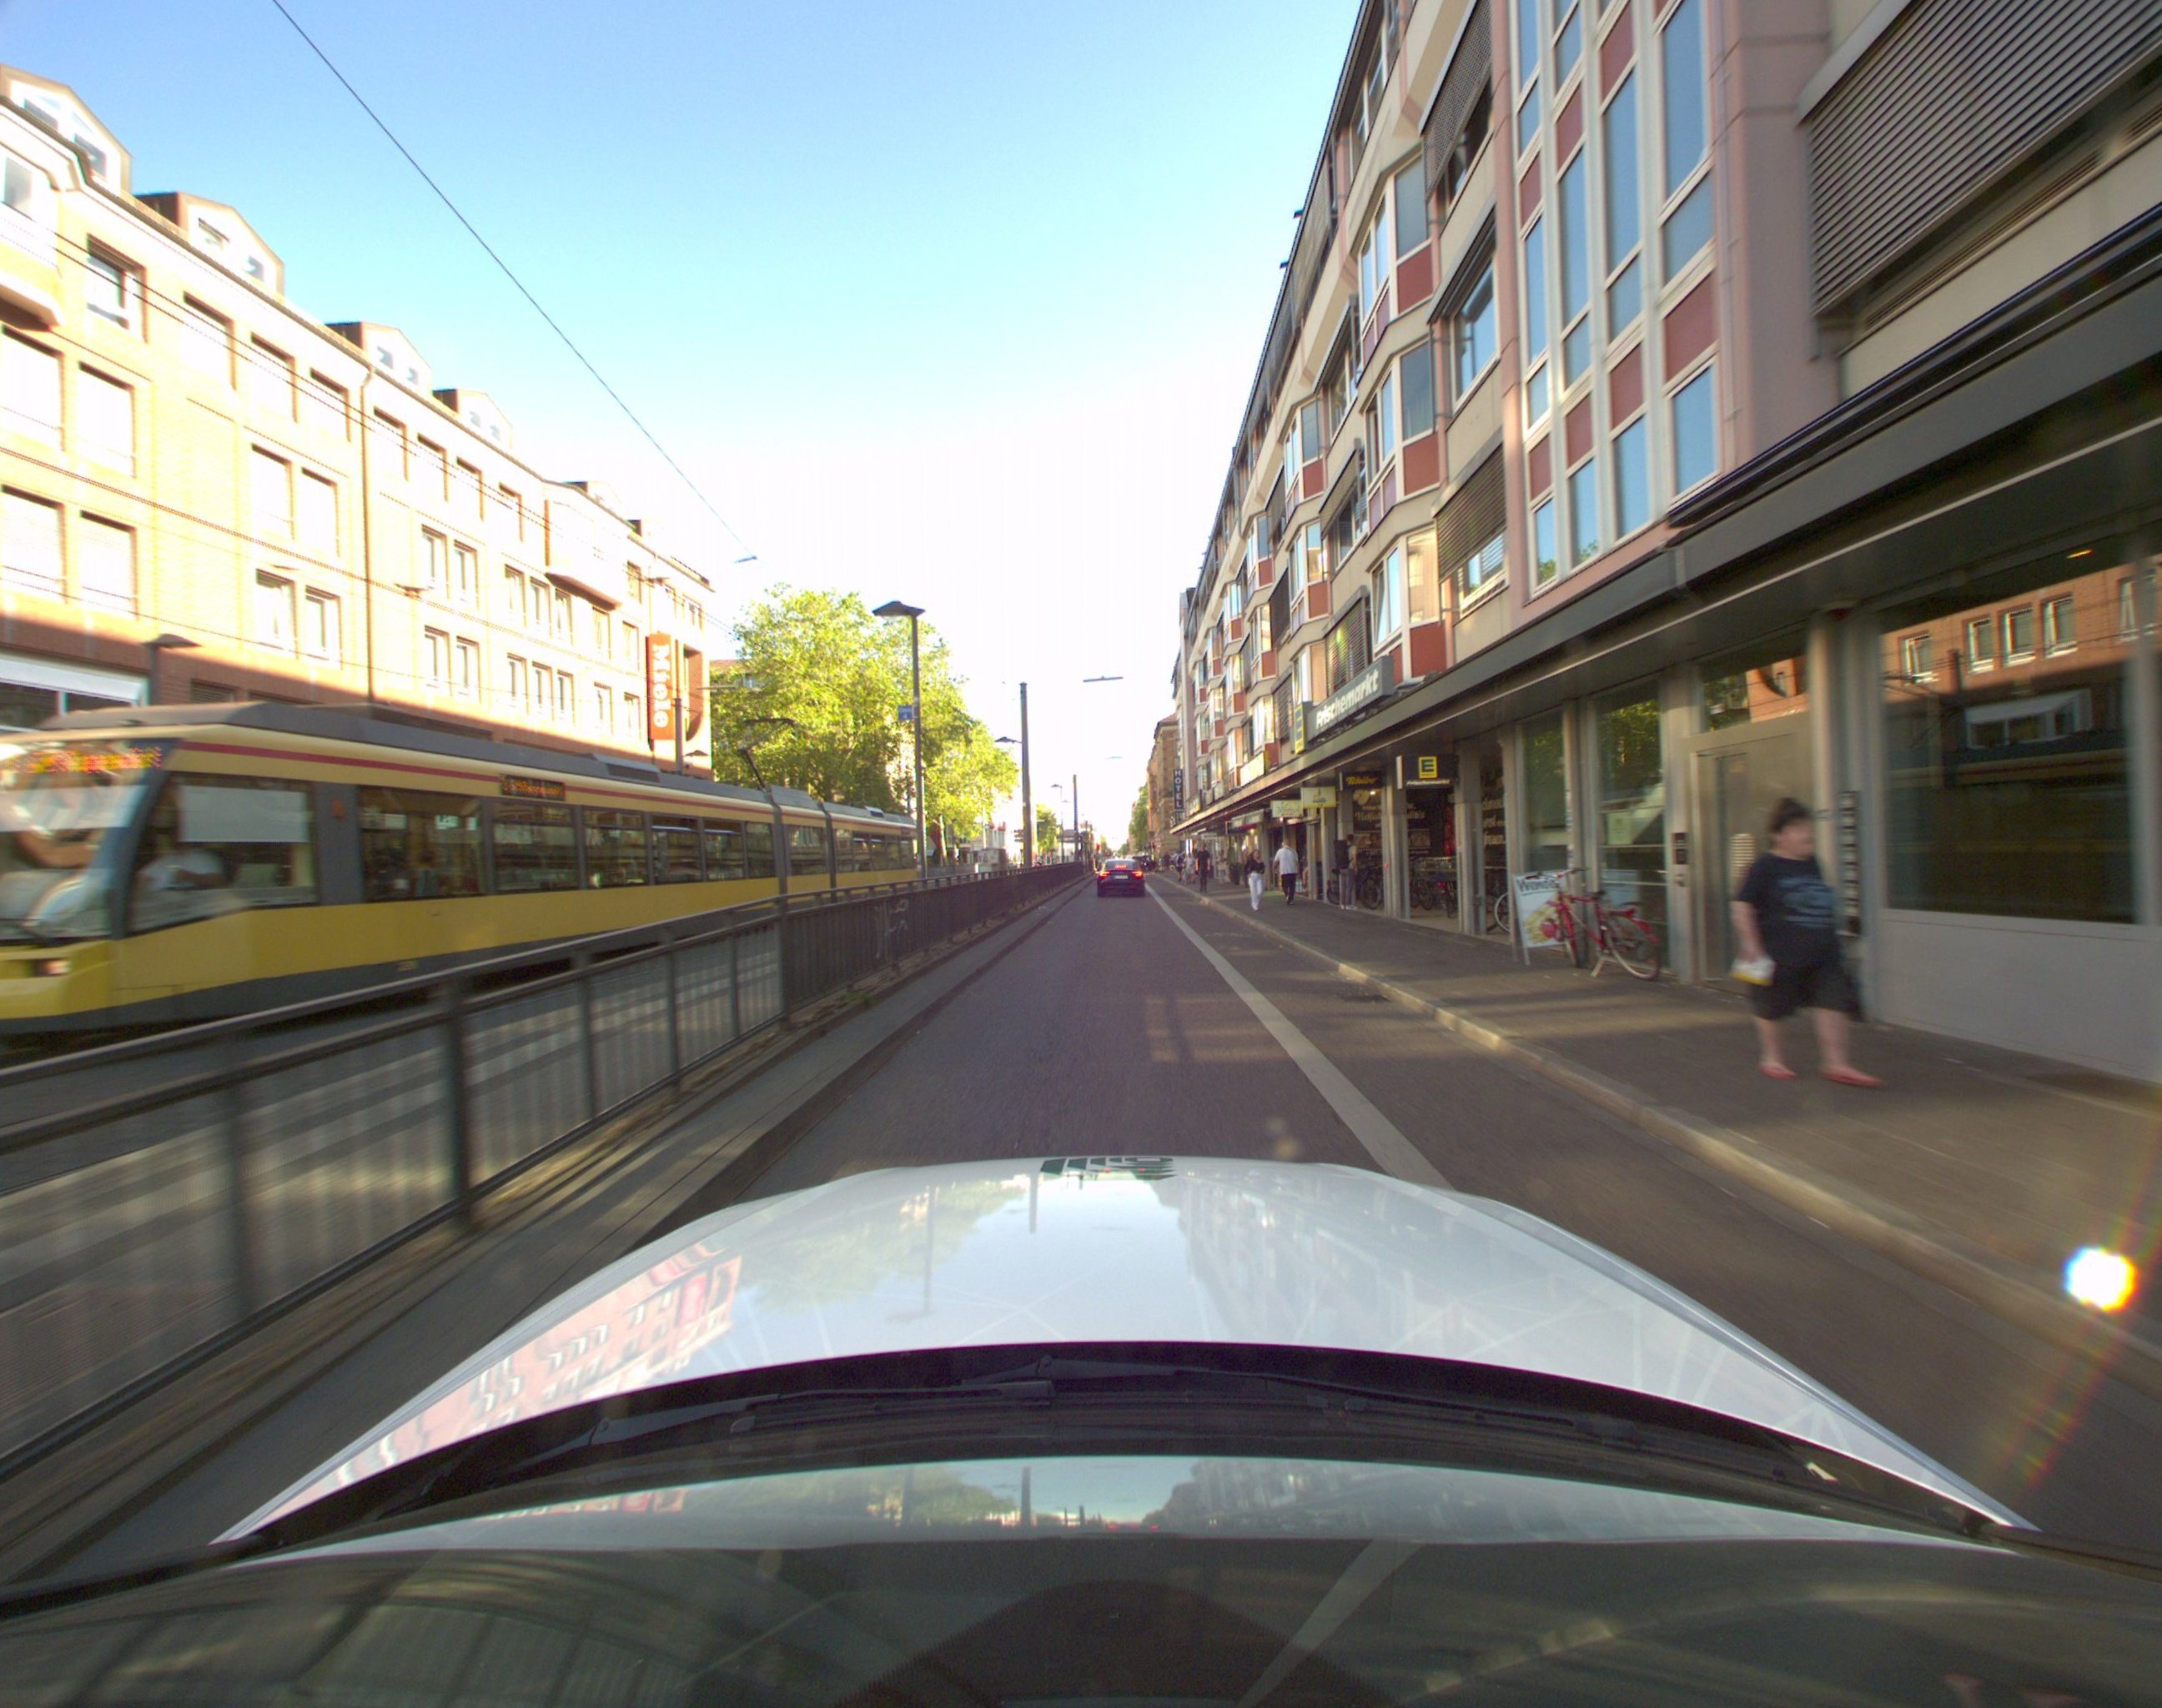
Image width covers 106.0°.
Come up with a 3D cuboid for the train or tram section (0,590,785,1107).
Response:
[{"bbox_3d":[-8.761,0.020,12.064,2.961,3.644,13.954,0,0,3],"label":"train or tram section"}]

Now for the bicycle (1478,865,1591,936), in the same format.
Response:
[{"bbox_3d":[7.051,0.714,12.690,1.505,1.041,0.434,-2,1,-1],"label":"bicycle"}]

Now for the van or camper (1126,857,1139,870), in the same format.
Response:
[{"bbox_3d":[8.054,1.504,128.079,1.923,2.037,5.477,-1,-1,2],"label":"van or camper"}]

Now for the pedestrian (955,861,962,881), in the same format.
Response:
[{"bbox_3d":[-12.619,1.709,83.913,0.700,2.014,0.687,-1,-1,-6],"label":"pedestrian"}]

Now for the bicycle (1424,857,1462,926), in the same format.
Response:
[{"bbox_3d":[7.129,0.697,15.989,0.550,1.236,2.096,-2,-1,26],"label":"bicycle"}]

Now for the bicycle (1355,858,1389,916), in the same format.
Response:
[{"bbox_3d":[6.796,0.740,18.962,0.465,1.251,2.096,-2,-1,26],"label":"bicycle"}]

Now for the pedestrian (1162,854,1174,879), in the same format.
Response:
[{"bbox_3d":[6.252,0.876,58.570,0.664,1.728,0.811,-5,-1,2],"label":"pedestrian"}]

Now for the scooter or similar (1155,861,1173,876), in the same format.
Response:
[{"bbox_3d":[7.282,1.239,71.651,1.472,1.229,0.592,-4,-1,2],"label":"scooter or similar"}]

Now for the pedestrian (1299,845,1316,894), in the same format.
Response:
[{"bbox_3d":[7.637,0.524,27.467,0.453,1.603,0.465,-2,-1,6],"label":"pedestrian"}]

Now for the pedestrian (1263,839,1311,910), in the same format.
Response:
[{"bbox_3d":[5.471,0.535,21.696,0.903,1.775,1.050,-5,-1,2],"label":"pedestrian"}]

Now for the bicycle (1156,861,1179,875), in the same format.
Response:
[{"bbox_3d":[7.657,1.228,72.294,1.939,1.107,0.564,-2,-1,0],"label":"bicycle"}]

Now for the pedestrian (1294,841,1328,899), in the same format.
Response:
[{"bbox_3d":[6.714,0.466,23.785,0.723,1.636,0.639,-4,-1,4],"label":"pedestrian"}]

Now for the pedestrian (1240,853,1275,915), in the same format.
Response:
[{"bbox_3d":[4.540,0.772,20.987,0.662,1.521,0.790,-4,-1,2],"label":"pedestrian"}]

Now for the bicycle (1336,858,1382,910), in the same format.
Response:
[{"bbox_3d":[6.933,0.730,20.259,1.393,1.236,0.405,-1,-1,-41],"label":"bicycle"}]

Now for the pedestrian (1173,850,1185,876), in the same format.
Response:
[{"bbox_3d":[7.056,0.664,58.555,0.703,1.820,0.764,-5,-1,3],"label":"pedestrian"}]

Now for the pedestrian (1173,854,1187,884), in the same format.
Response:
[{"bbox_3d":[5.685,0.858,46.717,0.741,1.727,0.815,0,-1,3],"label":"pedestrian"}]

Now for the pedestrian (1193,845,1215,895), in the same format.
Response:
[{"bbox_3d":[4.769,0.620,31.636,0.672,1.861,0.993,-4,-1,4],"label":"pedestrian"}]

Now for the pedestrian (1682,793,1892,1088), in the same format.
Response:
[{"bbox_3d":[4.133,0.484,4.808,0.704,1.613,0.495,-4,-1,2],"label":"pedestrian"}]

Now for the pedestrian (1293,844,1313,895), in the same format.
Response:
[{"bbox_3d":[7.282,0.504,26.697,0.513,1.633,0.523,-2,-1,7],"label":"pedestrian"}]

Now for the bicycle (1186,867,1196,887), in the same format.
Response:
[{"bbox_3d":[5.717,1.174,42.280,0.301,0.990,1.761,-2,-1,2],"label":"bicycle"}]

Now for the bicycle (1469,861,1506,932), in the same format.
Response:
[{"bbox_3d":[7.718,0.771,15.479,0.550,1.236,2.096,-2,-1,26],"label":"bicycle"}]

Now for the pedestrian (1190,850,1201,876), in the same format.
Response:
[{"bbox_3d":[7.942,0.621,56.304,0.626,1.769,0.501,-3,-1,3],"label":"pedestrian"}]

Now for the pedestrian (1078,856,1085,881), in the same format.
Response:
[{"bbox_3d":[0.036,0.952,52.594,0.422,1.573,0.448,-2,-1,3],"label":"pedestrian"}]

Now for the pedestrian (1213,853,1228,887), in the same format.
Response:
[{"bbox_3d":[6.638,0.760,38.745,0.598,1.590,0.554,-2,-1,2],"label":"pedestrian"}]

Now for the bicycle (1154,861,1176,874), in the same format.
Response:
[{"bbox_3d":[7.695,1.267,74.323,1.939,1.107,0.564,-2,-1,0],"label":"bicycle"}]

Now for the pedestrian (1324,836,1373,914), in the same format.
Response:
[{"bbox_3d":[6.206,0.482,18.904,0.788,1.721,0.588,-4,0,-16],"label":"pedestrian"}]

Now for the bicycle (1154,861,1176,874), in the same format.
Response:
[{"bbox_3d":[7.695,1.278,74.972,1.939,1.107,0.564,-2,-1,0],"label":"bicycle"}]

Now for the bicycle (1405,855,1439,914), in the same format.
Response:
[{"bbox_3d":[7.716,0.652,18.402,0.570,1.254,2.128,-1,-1,26],"label":"bicycle"}]

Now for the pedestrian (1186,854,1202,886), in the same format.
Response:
[{"bbox_3d":[5.861,0.833,42.194,0.660,1.630,0.705,-4,-1,2],"label":"pedestrian"}]

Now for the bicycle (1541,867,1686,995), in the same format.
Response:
[{"bbox_3d":[5.219,0.706,8.075,0.513,1.127,1.407,-2,-1,2],"label":"bicycle"}]

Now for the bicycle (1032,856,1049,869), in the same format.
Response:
[{"bbox_3d":[-4.798,1.054,96.712,1.951,1.516,0.632,-1,-1,-14],"label":"bicycle"}]

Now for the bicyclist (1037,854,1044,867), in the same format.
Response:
[{"bbox_3d":[-4.783,0.758,96.721,0.680,1.516,0.632,-1,-1,-14],"label":"bicyclist"}]

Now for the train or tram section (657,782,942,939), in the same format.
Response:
[{"bbox_3d":[-7.997,0.136,27.273,2.961,3.644,16.498,0,0,3],"label":"train or tram section"}]

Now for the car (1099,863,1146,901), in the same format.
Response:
[{"bbox_3d":[1.595,1.061,31.964,1.713,1.405,3.711,0,0,2],"label":"car"}]
